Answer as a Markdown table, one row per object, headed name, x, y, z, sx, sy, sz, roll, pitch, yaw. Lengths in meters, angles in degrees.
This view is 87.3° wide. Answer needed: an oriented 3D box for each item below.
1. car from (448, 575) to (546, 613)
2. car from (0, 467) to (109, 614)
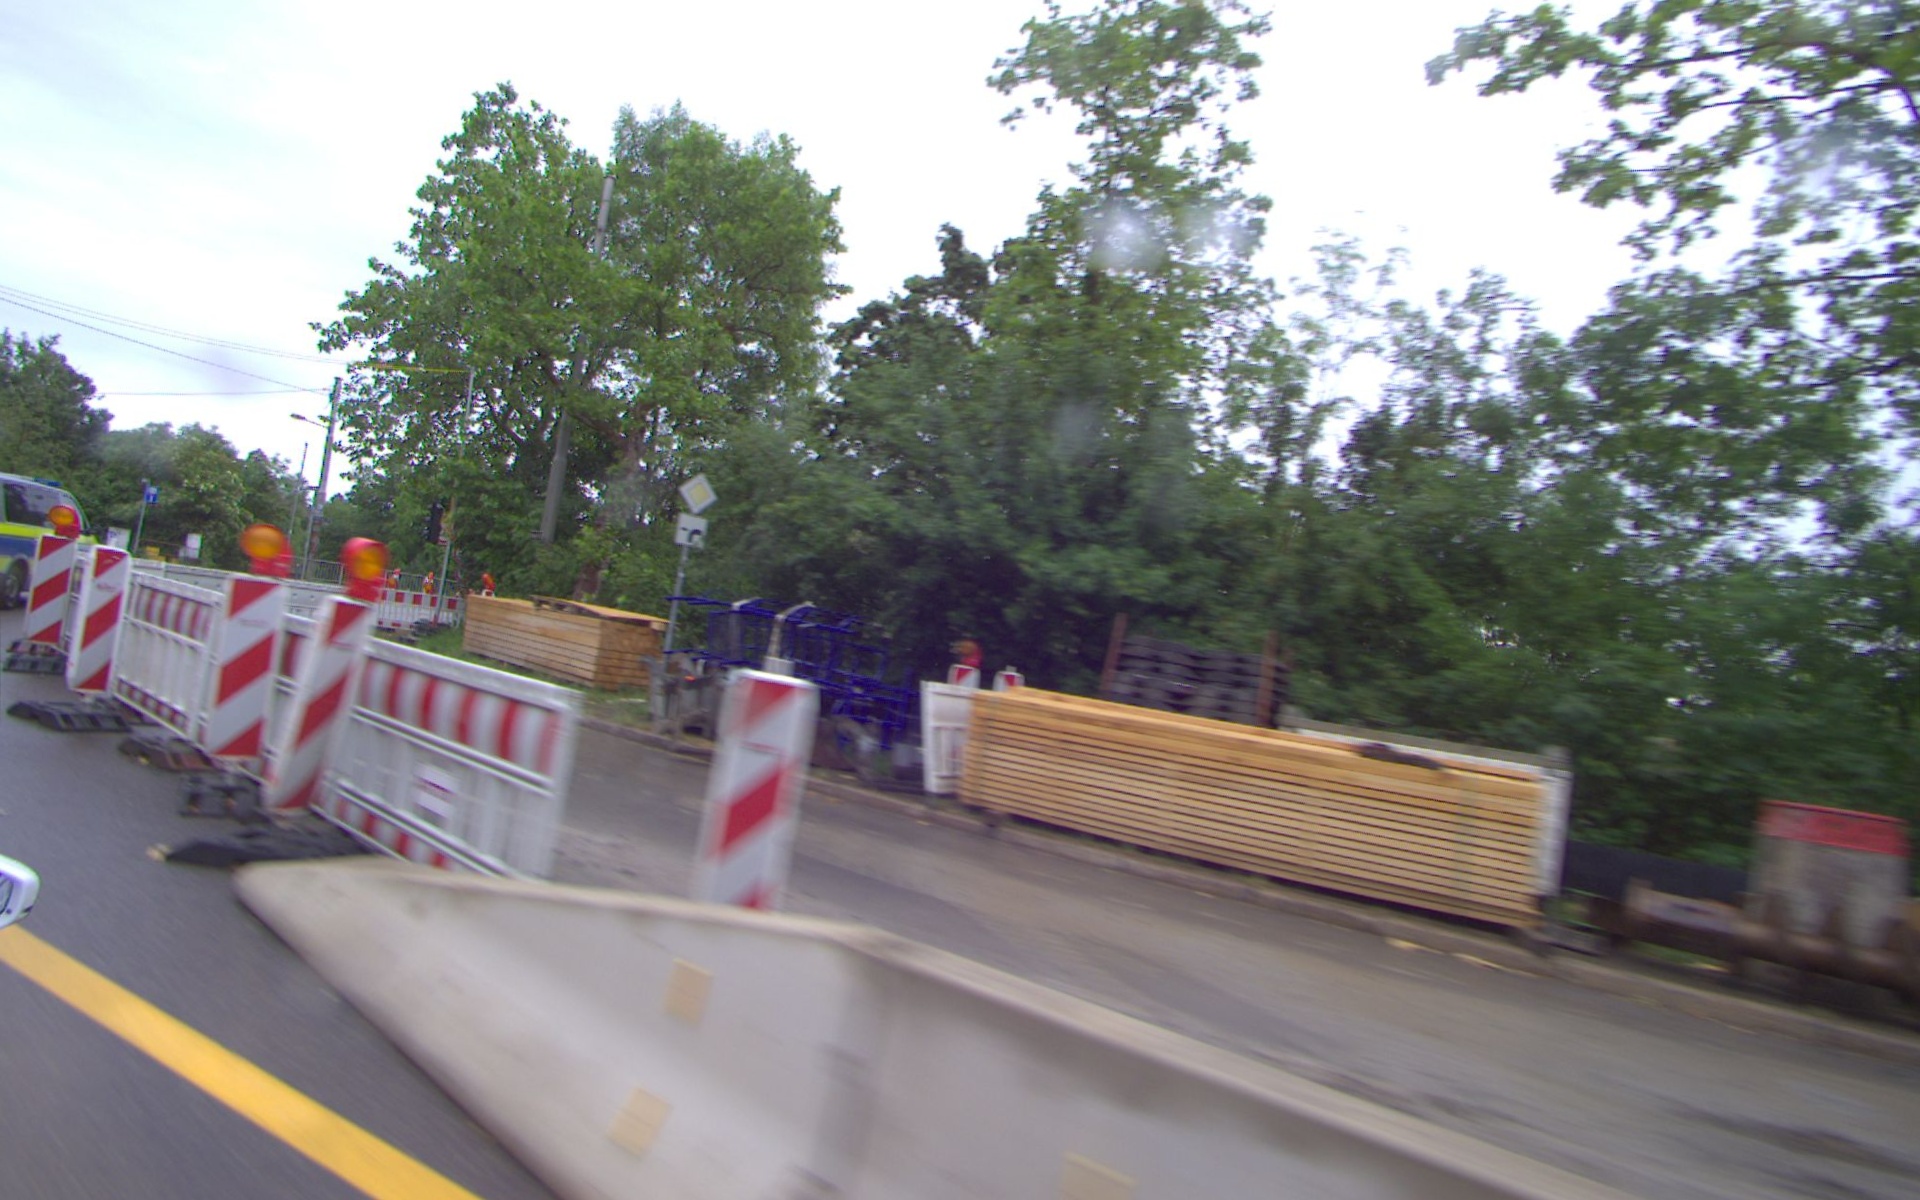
| name | x | y | z | sx | sy | sz | roll | pitch | yaw |
| --- | --- | --- | --- | --- | --- | --- | --- | --- | --- |
| car | -22.797 | -0.264 | 49.680 | 1.768 | 1.348 | 3.993 | 6 | -2 | 32 |
| car | -15.135 | -0.978 | 15.520 | 1.894 | 2.032 | 4.411 | 10 | -4 | -28 |
